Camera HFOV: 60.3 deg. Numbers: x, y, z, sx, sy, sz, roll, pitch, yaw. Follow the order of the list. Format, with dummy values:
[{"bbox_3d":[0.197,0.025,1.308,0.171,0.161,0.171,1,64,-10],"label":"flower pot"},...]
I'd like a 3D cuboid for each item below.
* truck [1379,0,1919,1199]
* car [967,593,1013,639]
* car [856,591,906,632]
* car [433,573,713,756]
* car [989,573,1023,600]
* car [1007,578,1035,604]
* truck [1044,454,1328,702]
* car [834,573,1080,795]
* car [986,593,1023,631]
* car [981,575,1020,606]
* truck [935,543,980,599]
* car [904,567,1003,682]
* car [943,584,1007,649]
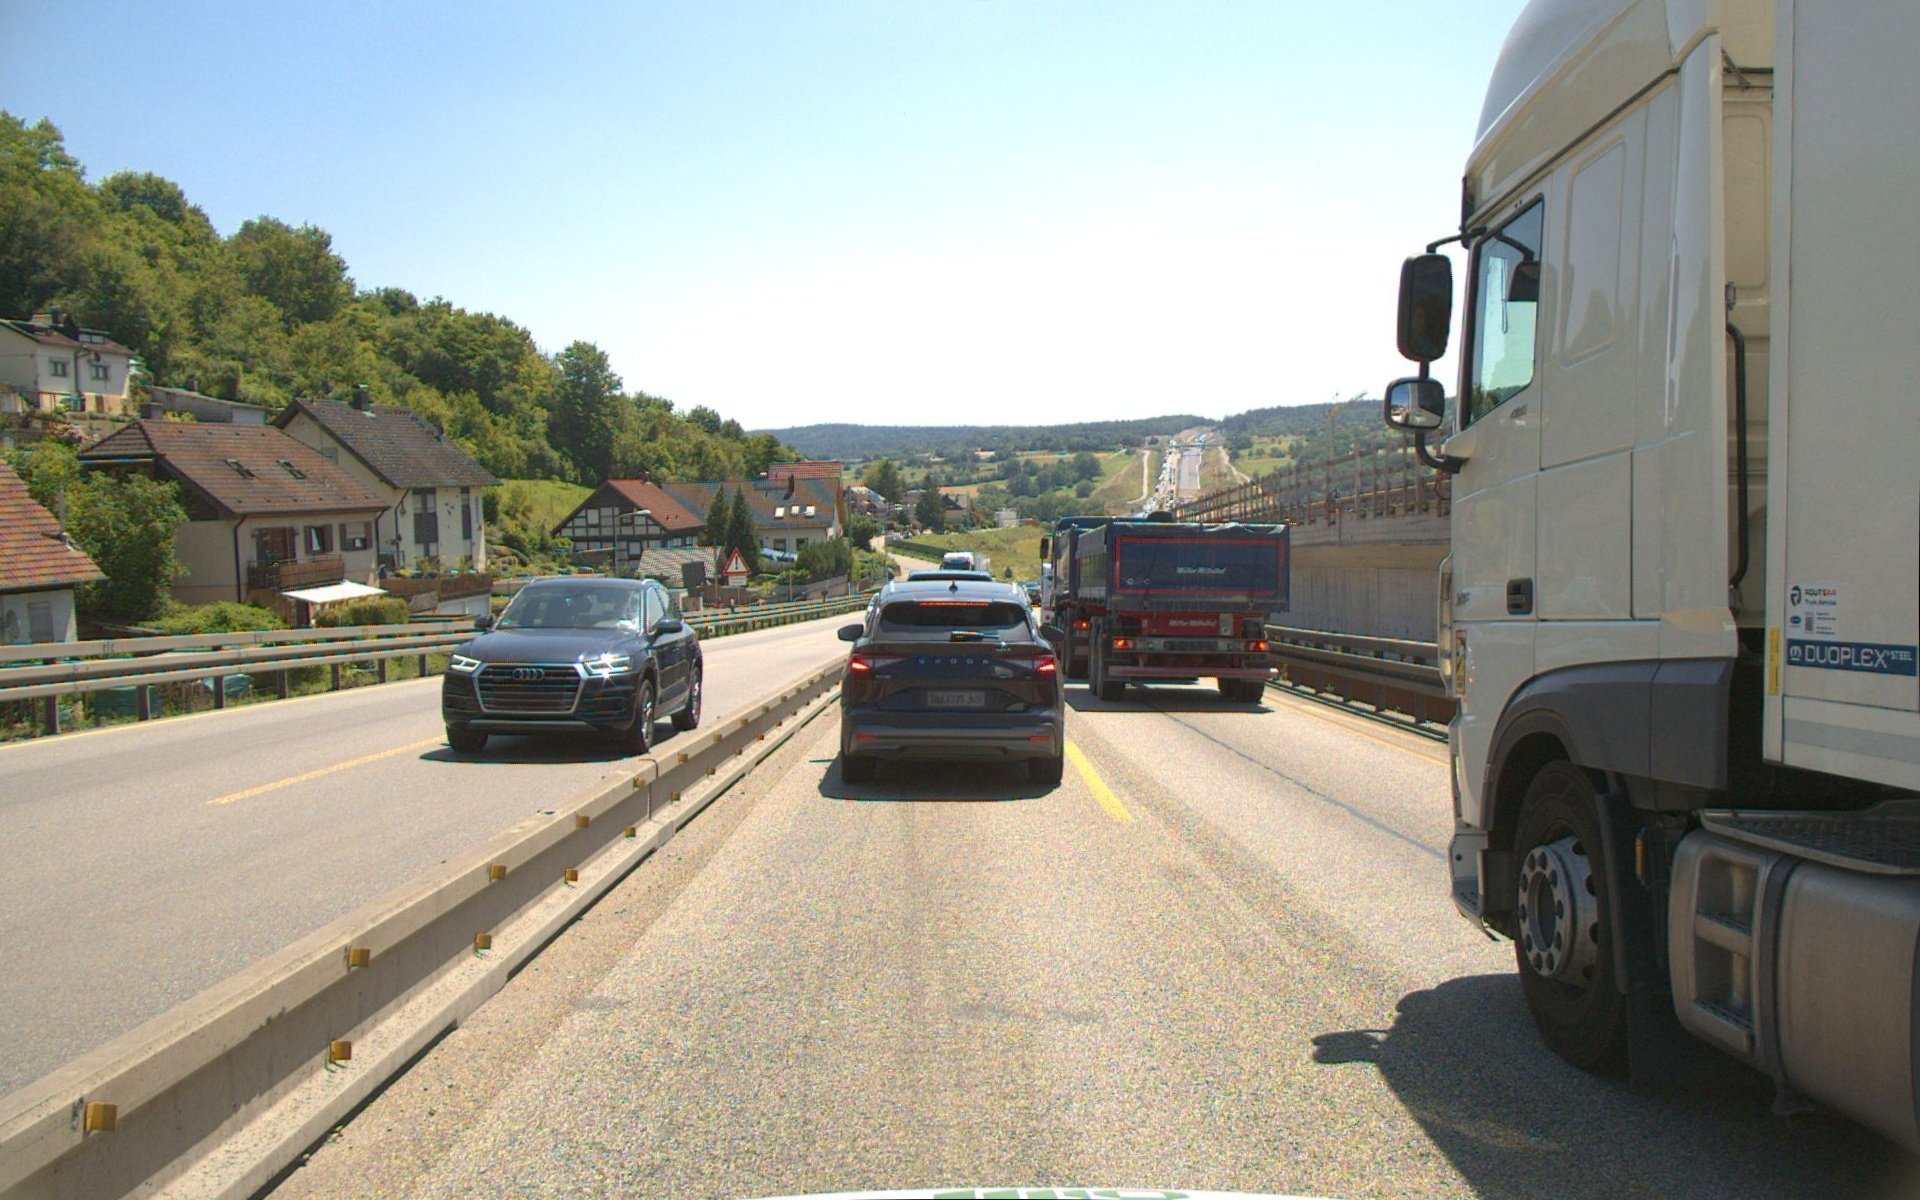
[{"bbox_3d":[3.125,-0.695,2.872,2.462,4.095,8.235,1,0,-2],"label":"truck"},{"bbox_3d":[1.197,0.612,64.915,1.671,1.650,4.002,1,1,2],"label":"car"},{"bbox_3d":[-2.926,0.405,61.781,1.711,1.451,3.709,0,1,-1],"label":"car"},{"bbox_3d":[-3.775,0.580,16.970,1.878,1.623,4.527,0,0,-1],"label":"car"},{"bbox_3d":[2.846,-0.811,102.530,1.952,1.613,3.838,1,0,3],"label":"car"},{"bbox_3d":[4.288,-0.594,115.990,1.664,1.758,3.839,1,0,7],"label":"car"},{"bbox_3d":[3.327,-0.267,28.327,3.129,3.247,12.808,1,0,0],"label":"truck"},{"bbox_3d":[-0.057,0.633,14.273,1.805,1.614,3.906,1,0,-1],"label":"car"},{"bbox_3d":[2.147,0.542,78.698,1.671,1.650,4.002,1,1,2],"label":"car"},{"bbox_3d":[2.217,-0.508,90.260,1.952,1.613,3.838,1,0,3],"label":"car"},{"bbox_3d":[-0.152,-2.379,138.022,3.234,4.438,8.304,1,0,3],"label":"truck"},{"bbox_3d":[-0.147,0.381,30.282,1.672,1.914,4.000,1,1,-1],"label":"car"},{"bbox_3d":[0.389,0.433,46.465,1.672,1.650,4.000,1,1,-1],"label":"car"}]
